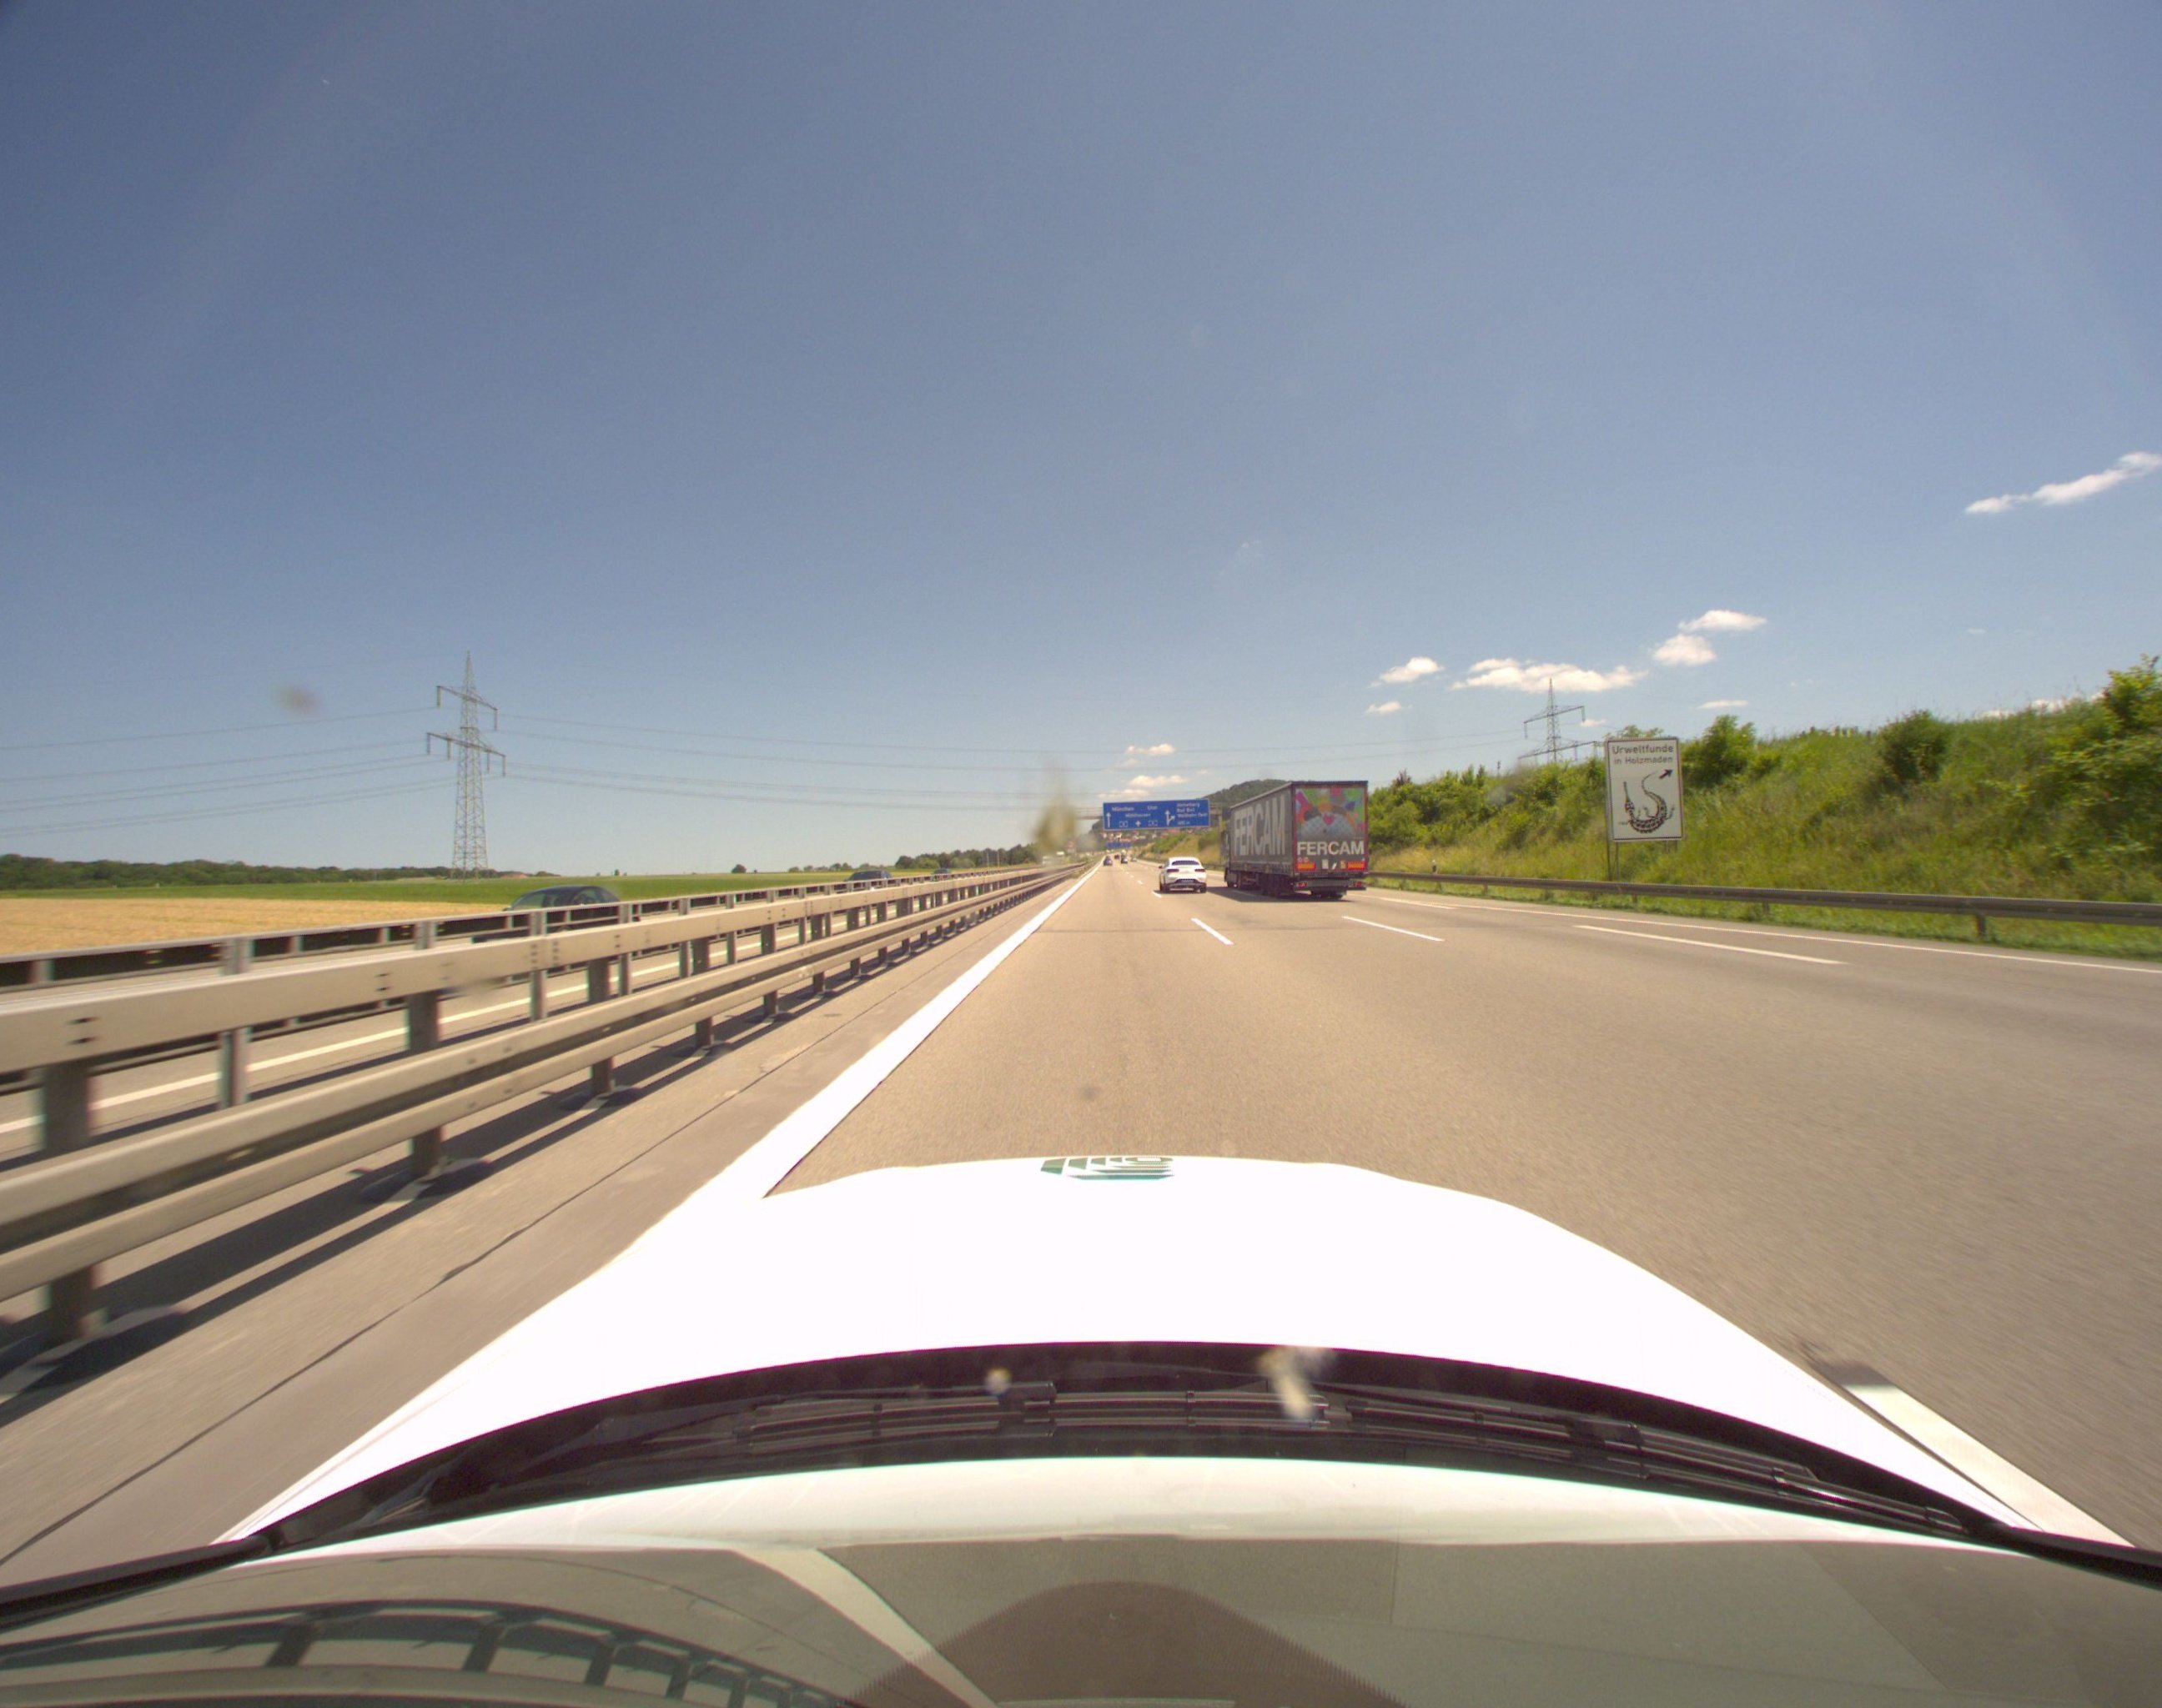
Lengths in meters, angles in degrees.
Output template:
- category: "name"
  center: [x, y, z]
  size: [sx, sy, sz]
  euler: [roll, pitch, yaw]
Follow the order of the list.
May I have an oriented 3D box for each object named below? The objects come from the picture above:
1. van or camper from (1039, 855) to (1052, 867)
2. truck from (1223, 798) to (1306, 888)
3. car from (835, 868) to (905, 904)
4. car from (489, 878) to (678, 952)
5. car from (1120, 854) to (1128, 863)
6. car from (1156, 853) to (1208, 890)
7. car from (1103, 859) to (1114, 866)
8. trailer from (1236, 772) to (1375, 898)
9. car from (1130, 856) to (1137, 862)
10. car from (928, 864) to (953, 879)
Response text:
- category: "van or camper"
  center: [-7.538, 1.550, 172.254]
  size: [2.219, 2.509, 6.599]
  euler: [0, -1, 2]
- category: "truck"
  center: [8.758, -0.449, 39.642]
  size: [2.742, 4.020, 6.792]
  euler: [0, -1, 2]
- category: "car"
  center: [-9.810, 1.446, 38.328]
  size: [1.802, 1.440, 5.283]
  euler: [-5, -1, 0]
- category: "car"
  center: [-11.882, 1.388, 19.883]
  size: [1.665, 1.440, 4.567]
  euler: [-3, -1, 1]
- category: "car"
  center: [10.167, 1.089, 192.372]
  size: [1.986, 2.014, 4.002]
  euler: [0, -1, 2]
- category: "car"
  center: [4.579, 0.790, 37.544]
  size: [1.907, 1.581, 5.232]
  euler: [0, -1, 1]
- category: "car"
  center: [5.250, 1.597, 156.671]
  size: [1.986, 1.389, 4.002]
  euler: [0, -1, 2]
- category: "trailer"
  center: [8.511, -0.567, 32.779]
  size: [2.715, 4.155, 11.812]
  euler: [0, -1, 2]
- category: "car"
  center: [16.168, 1.561, 252.407]
  size: [1.986, 1.818, 4.002]
  euler: [-2, 0, 2]
- category: "car"
  center: [-14.016, 1.715, 81.454]
  size: [1.567, 1.306, 4.043]
  euler: [-2, 0, 2]
